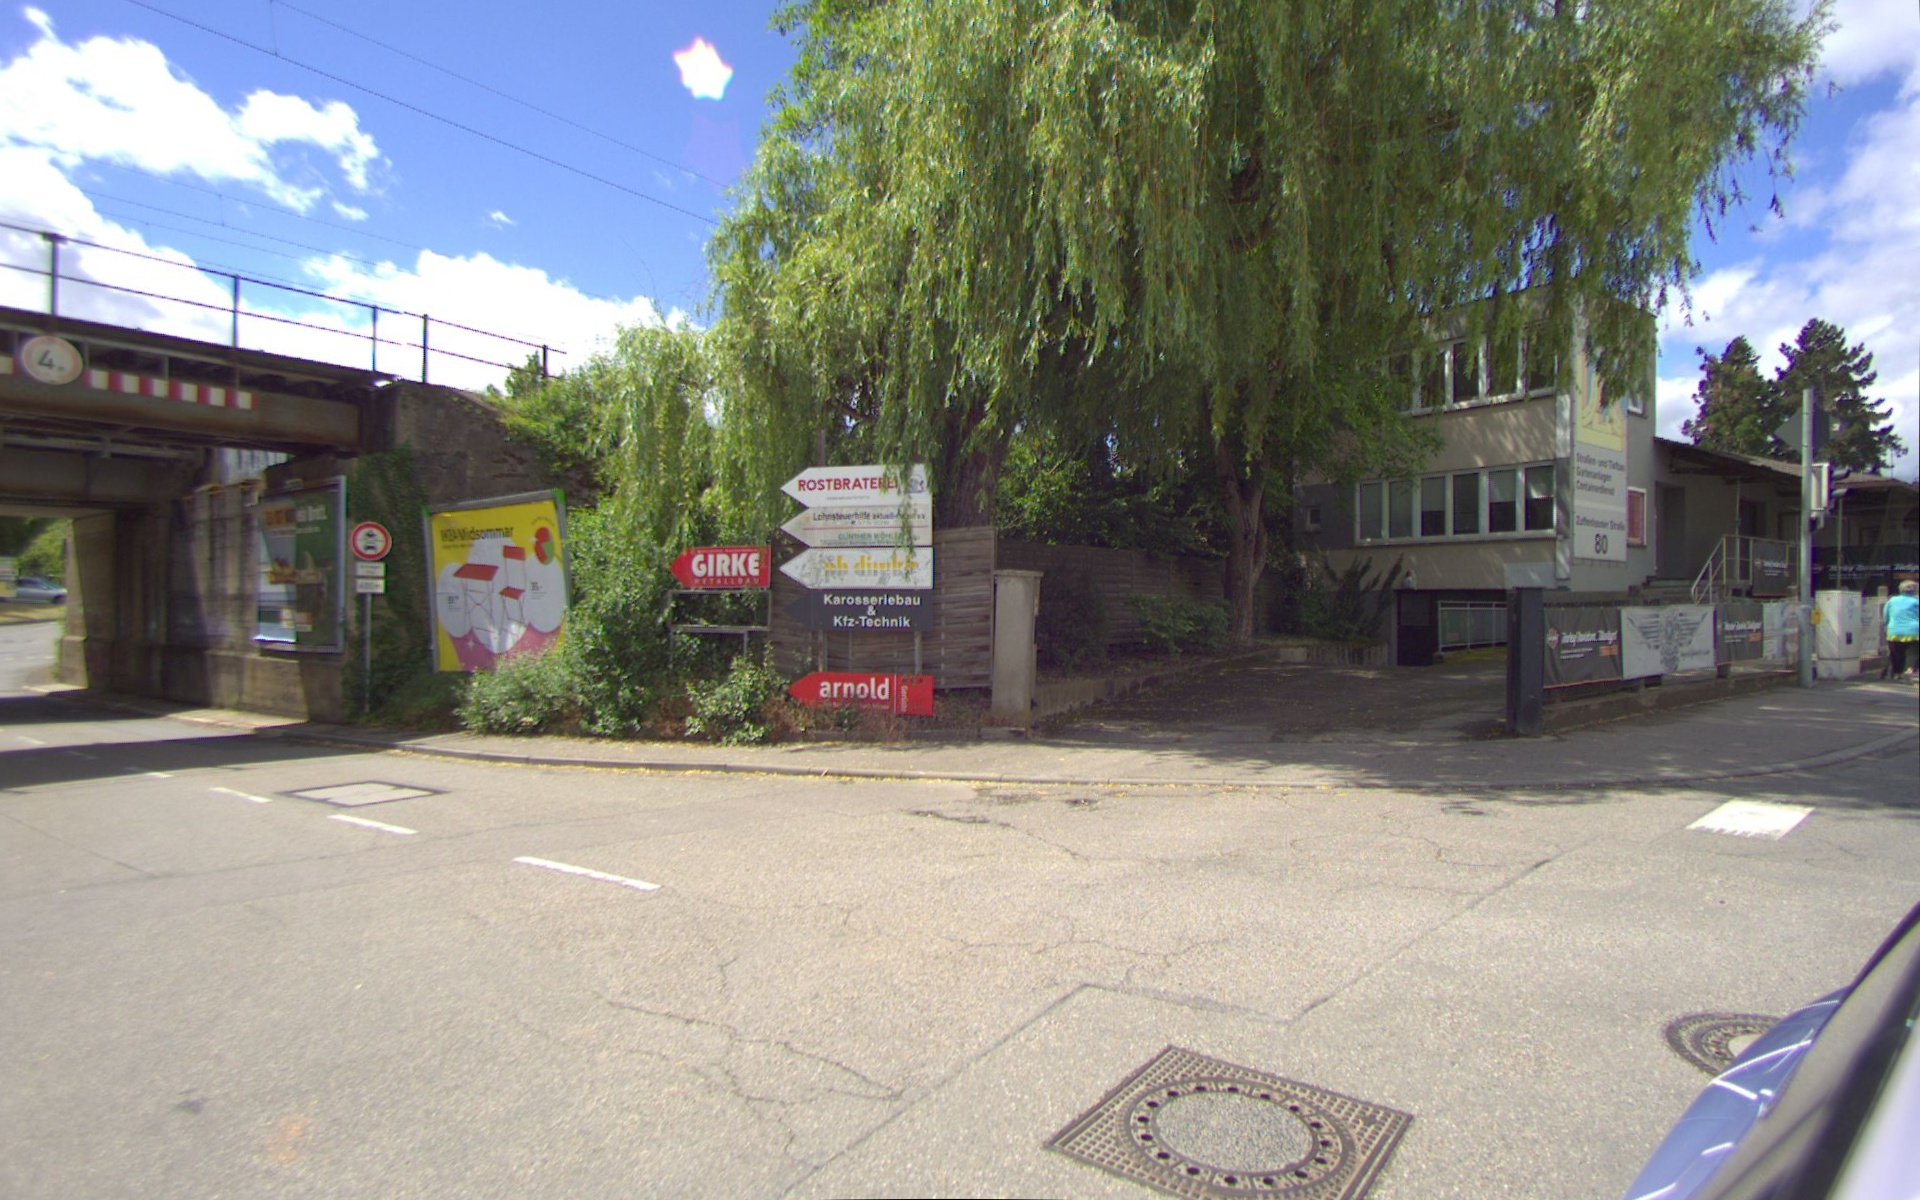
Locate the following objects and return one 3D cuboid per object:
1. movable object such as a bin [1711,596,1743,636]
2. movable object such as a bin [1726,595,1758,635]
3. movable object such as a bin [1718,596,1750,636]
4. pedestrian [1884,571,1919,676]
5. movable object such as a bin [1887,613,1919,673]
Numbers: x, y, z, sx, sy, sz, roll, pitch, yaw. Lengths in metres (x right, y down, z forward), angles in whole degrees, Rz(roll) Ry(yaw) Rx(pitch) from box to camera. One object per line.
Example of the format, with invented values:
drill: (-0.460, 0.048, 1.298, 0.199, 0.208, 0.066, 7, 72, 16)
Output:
movable object such as a bin: (18.134, 0.374, 23.938, 0.465, 0.942, 0.483, -1, 0, -36)
movable object such as a bin: (19.009, 0.359, 24.596, 0.573, 0.942, 0.483, -1, 0, -37)
movable object such as a bin: (18.549, 0.367, 24.249, 0.465, 0.942, 0.483, -1, 0, -36)
pedestrian: (14.577, 0.350, 15.382, 0.731, 1.562, 0.828, 3, 2, 42)
movable object such as a bin: (14.953, 0.667, 15.811, 0.668, 0.882, 0.737, 3, 2, 43)
